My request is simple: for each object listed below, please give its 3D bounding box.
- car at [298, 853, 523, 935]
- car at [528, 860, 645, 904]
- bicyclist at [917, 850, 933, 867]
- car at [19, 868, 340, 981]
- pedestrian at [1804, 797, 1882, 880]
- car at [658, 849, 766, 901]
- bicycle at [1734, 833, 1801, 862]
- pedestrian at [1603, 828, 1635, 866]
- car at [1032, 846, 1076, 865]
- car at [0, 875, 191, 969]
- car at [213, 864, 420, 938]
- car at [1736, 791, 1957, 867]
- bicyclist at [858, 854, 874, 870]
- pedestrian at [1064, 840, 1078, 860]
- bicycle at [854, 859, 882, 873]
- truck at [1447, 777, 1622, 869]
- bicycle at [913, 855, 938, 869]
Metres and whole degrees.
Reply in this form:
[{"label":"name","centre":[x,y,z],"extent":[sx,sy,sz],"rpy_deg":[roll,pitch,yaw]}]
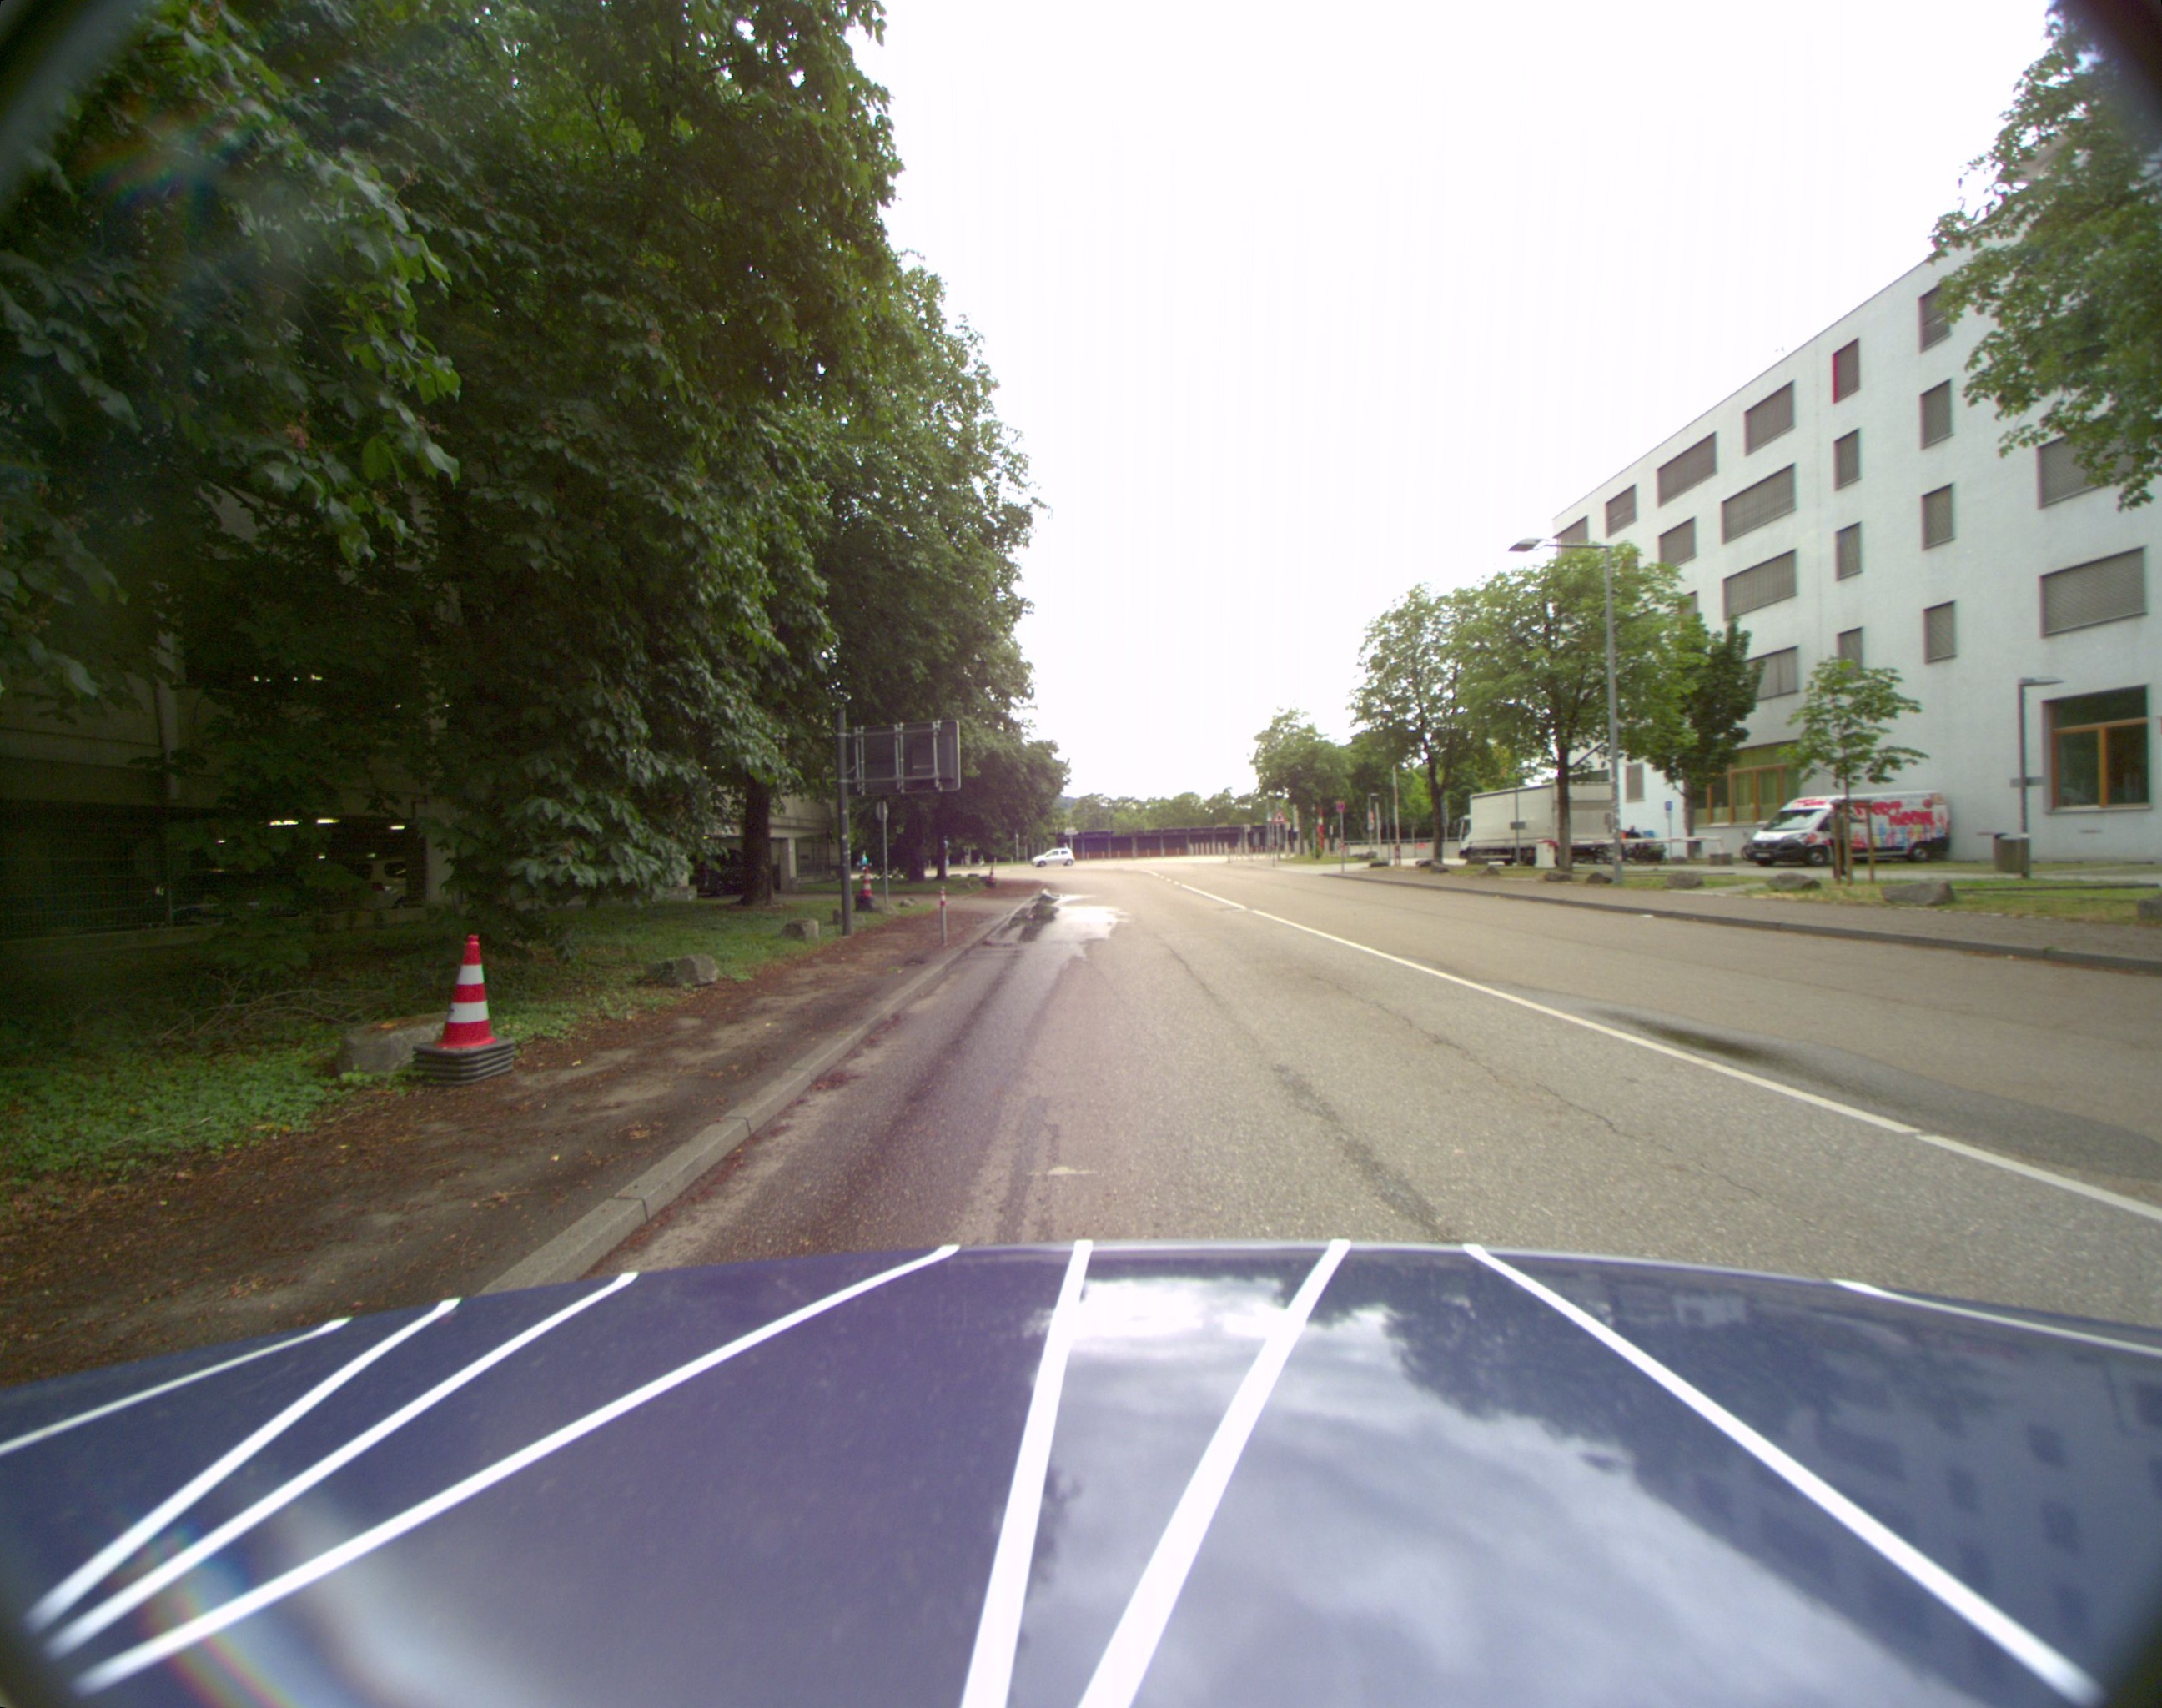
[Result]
[{"label":"car","centre":[-17.255,0.929,19.946],"extent":[1.589,1.699,4.666],"rpy_deg":[-3,2,1]},{"label":"car","centre":[-20.014,1.069,30.980],"extent":[1.876,1.445,4.000],"rpy_deg":[-3,2,4]},{"label":"bicyclist","centre":[-14.020,0.411,68.321],"extent":[1.101,1.487,0.927],"rpy_deg":[-3,3,-1]},{"label":"car","centre":[-17.480,1.260,15.080],"extent":[1.589,1.699,3.856],"rpy_deg":[-3,2,1]},{"label":"pedestrian","centre":[16.036,-0.320,16.001],"extent":[0.845,1.662,0.786],"rpy_deg":[-3,2,-2]},{"label":"car","centre":[-14.662,0.755,30.567],"extent":[1.924,1.824,4.735],"rpy_deg":[-3,1,0]},{"label":"bicycle","centre":[27.614,-0.262,30.583],"extent":[2.029,1.064,0.613],"rpy_deg":[-3,2,4]},{"label":"pedestrian","centre":[23.201,-0.294,32.761],"extent":[0.680,1.597,0.886],"rpy_deg":[-4,2,-23]},{"label":"car","centre":[-2.321,0.104,64.561],"extent":[3.503,1.448,1.605],"rpy_deg":[-3,2,-10]},{"label":"car","centre":[-20.378,1.316,14.762],"extent":[1.721,1.537,3.700],"rpy_deg":[-3,2,-1]},{"label":"car","centre":[-20.270,1.164,20.407],"extent":[1.721,1.577,3.690],"rpy_deg":[-3,2,-1]},{"label":"car","centre":[26.598,-0.867,26.547],"extent":[5.640,2.266,2.078],"rpy_deg":[-3,2,0]},{"label":"bicyclist","centre":[-19.314,0.707,68.358],"extent":[1.159,1.422,0.742],"rpy_deg":[-3,2,-3]},{"label":"pedestrian","centre":[-0.957,-0.416,72.593],"extent":[1.200,1.824,0.927],"rpy_deg":[-3,3,4]},{"label":"bicycle","centre":[-19.157,1.101,68.381],"extent":[2.257,1.117,0.748],"rpy_deg":[-3,2,-3]},{"label":"truck","centre":[20.422,-1.350,34.980],"extent":[2.684,3.580,8.361],"rpy_deg":[-3,2,-2]},{"label":"bicycle","centre":[-13.999,0.734,68.334],"extent":[2.050,1.137,0.777],"rpy_deg":[-3,3,-1]}]
